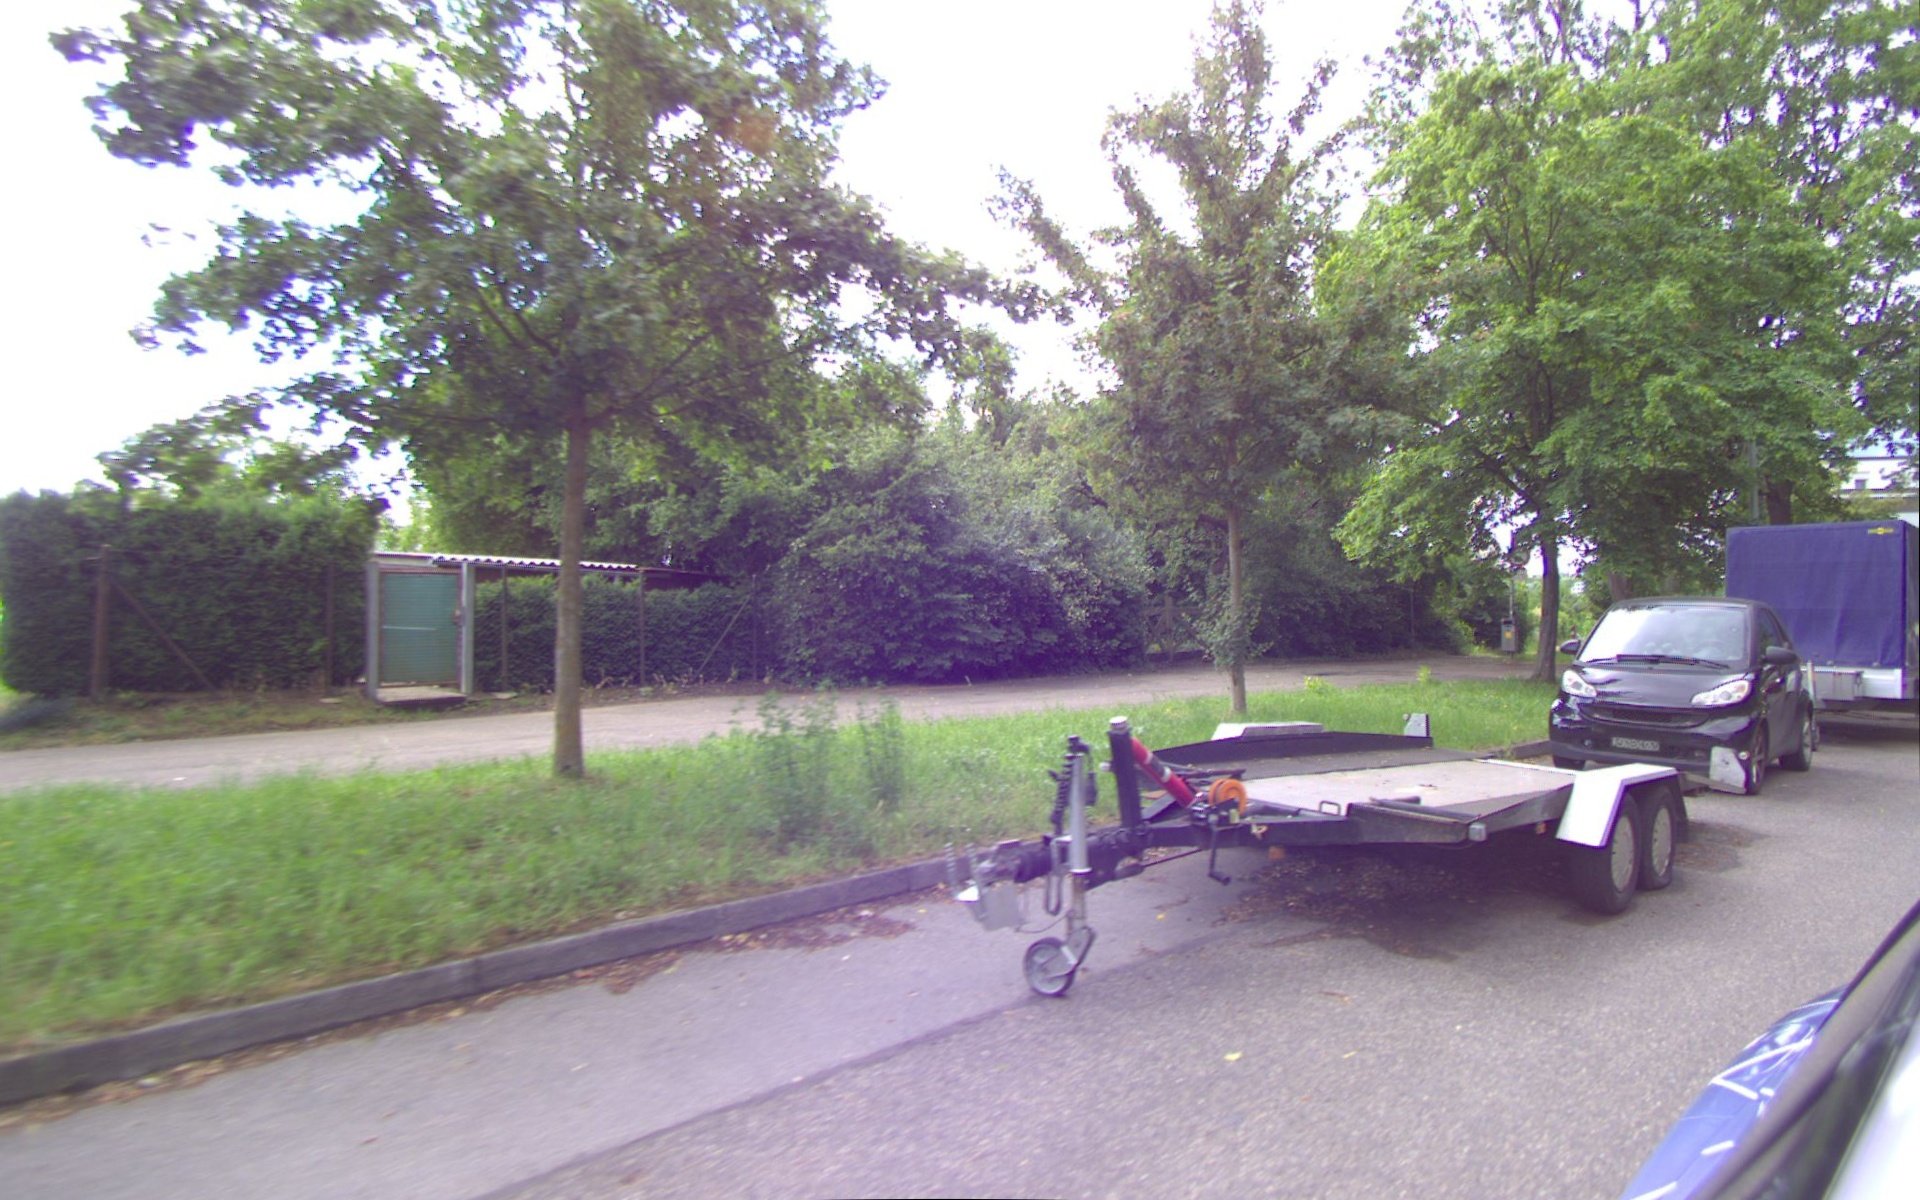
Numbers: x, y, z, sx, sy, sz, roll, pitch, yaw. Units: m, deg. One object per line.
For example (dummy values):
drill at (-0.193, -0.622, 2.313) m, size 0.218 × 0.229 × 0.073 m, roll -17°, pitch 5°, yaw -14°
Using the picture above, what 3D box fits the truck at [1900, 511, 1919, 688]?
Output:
truck at (19.456, 0.013, 17.972) m, size 6.895 × 2.970 × 2.313 m, roll 0°, pitch 1°, yaw -32°

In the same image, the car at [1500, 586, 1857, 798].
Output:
car at (6.505, 0.656, 9.077) m, size 3.343 × 1.541 × 1.733 m, roll 0°, pitch 0°, yaw -38°

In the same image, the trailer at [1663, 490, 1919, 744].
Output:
trailer at (10.275, 0.203, 11.720) m, size 4.613 × 2.391 × 2.113 m, roll 3°, pitch 0°, yaw -37°

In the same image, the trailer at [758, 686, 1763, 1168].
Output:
trailer at (2.229, 1.030, 5.325) m, size 6.291 × 0.659 × 2.107 m, roll 0°, pitch 0°, yaw -42°
